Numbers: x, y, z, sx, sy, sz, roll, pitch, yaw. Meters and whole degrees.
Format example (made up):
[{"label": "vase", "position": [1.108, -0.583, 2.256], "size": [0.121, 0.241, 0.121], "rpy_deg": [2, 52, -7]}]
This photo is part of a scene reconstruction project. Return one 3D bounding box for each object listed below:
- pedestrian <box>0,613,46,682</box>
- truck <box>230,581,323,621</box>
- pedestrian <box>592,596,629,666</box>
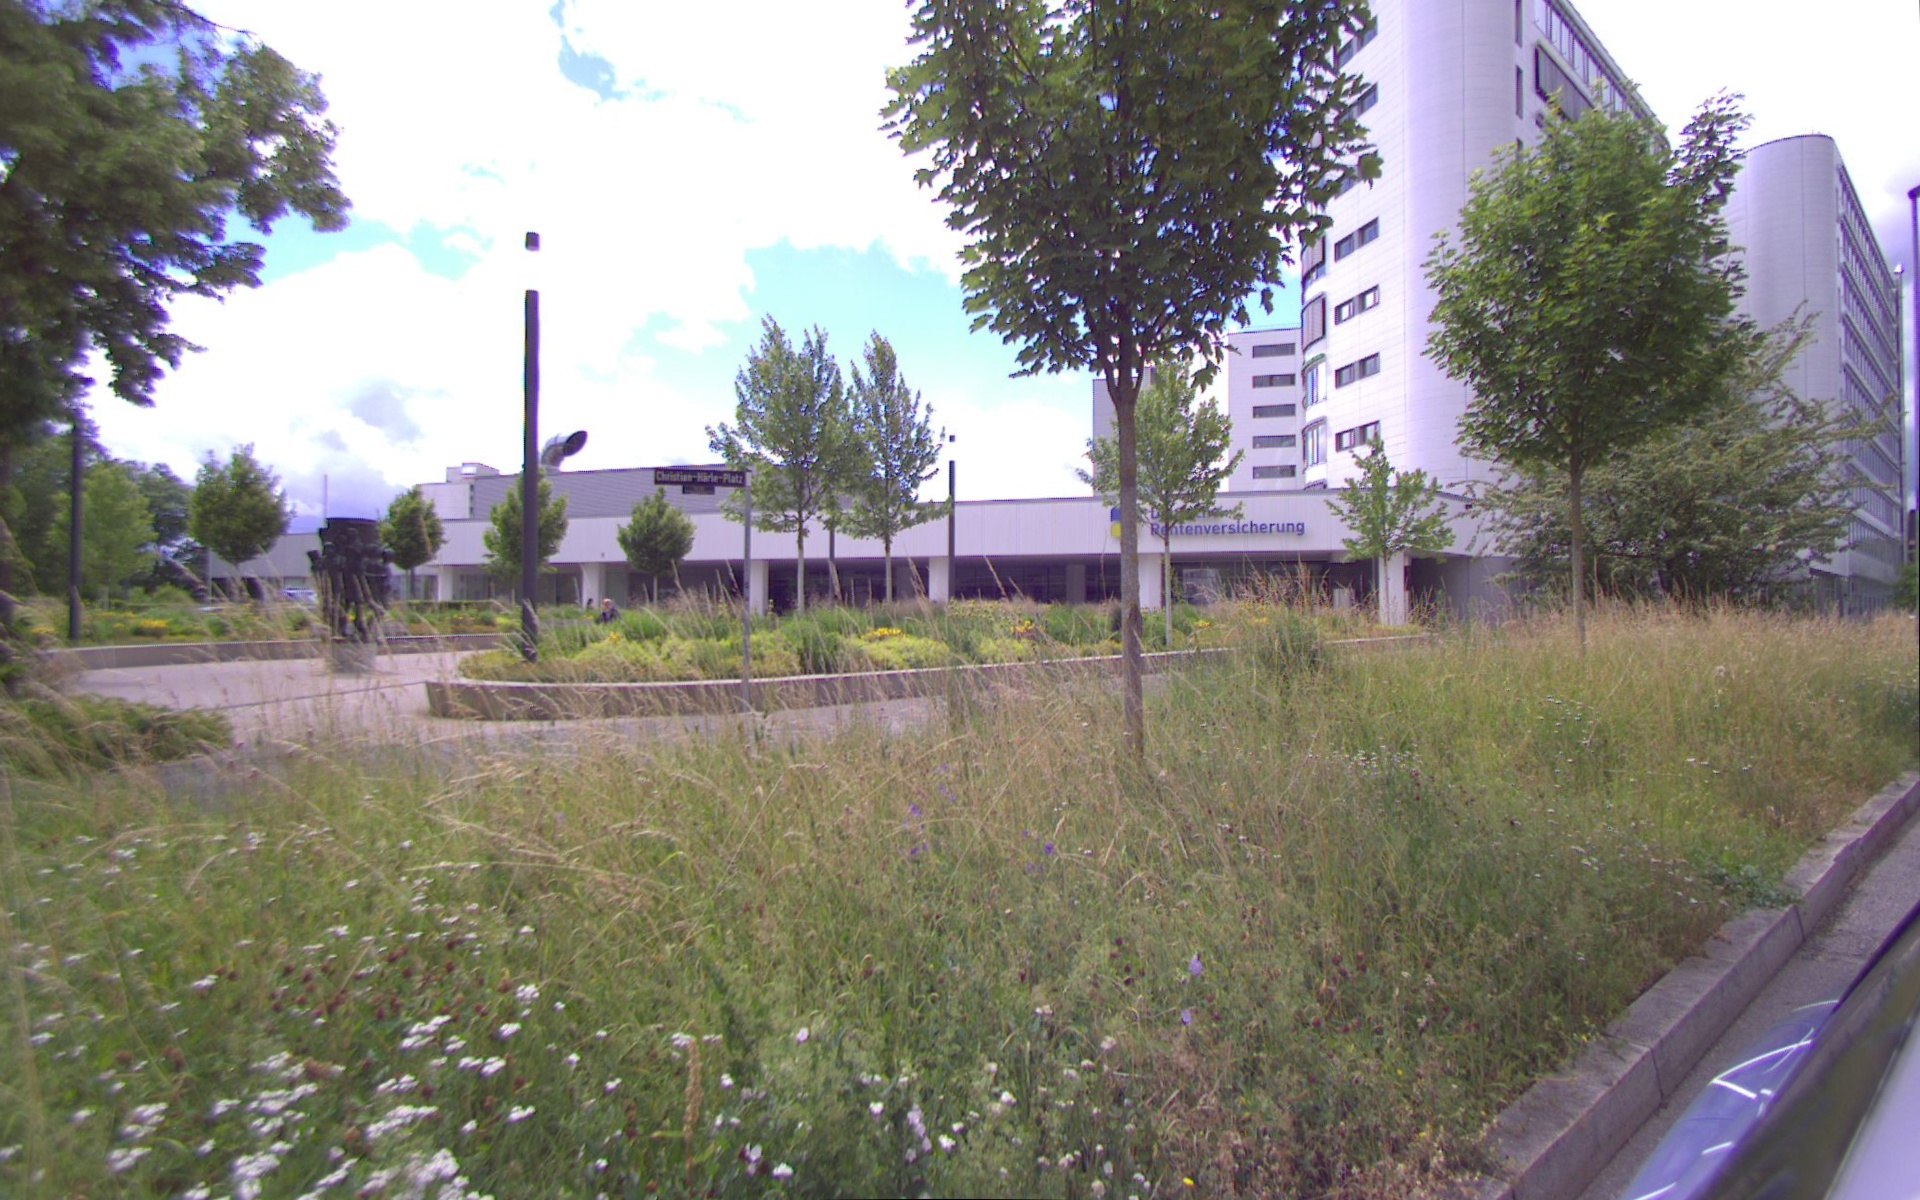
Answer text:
[{"label": "pedestrian", "position": [-17.379, 0.863, 18.714], "size": [0.621, 1.238, 0.620], "rpy_deg": [1, 0, -36]}, {"label": "truck", "position": [-36.155, 0.064, 53.570], "size": [3.941, 2.039, 1.991], "rpy_deg": [1, 0, 14]}, {"label": "pedestrian", "position": [-8.409, 0.738, 24.339], "size": [0.756, 1.646, 0.766], "rpy_deg": [1, 0, -24]}]
